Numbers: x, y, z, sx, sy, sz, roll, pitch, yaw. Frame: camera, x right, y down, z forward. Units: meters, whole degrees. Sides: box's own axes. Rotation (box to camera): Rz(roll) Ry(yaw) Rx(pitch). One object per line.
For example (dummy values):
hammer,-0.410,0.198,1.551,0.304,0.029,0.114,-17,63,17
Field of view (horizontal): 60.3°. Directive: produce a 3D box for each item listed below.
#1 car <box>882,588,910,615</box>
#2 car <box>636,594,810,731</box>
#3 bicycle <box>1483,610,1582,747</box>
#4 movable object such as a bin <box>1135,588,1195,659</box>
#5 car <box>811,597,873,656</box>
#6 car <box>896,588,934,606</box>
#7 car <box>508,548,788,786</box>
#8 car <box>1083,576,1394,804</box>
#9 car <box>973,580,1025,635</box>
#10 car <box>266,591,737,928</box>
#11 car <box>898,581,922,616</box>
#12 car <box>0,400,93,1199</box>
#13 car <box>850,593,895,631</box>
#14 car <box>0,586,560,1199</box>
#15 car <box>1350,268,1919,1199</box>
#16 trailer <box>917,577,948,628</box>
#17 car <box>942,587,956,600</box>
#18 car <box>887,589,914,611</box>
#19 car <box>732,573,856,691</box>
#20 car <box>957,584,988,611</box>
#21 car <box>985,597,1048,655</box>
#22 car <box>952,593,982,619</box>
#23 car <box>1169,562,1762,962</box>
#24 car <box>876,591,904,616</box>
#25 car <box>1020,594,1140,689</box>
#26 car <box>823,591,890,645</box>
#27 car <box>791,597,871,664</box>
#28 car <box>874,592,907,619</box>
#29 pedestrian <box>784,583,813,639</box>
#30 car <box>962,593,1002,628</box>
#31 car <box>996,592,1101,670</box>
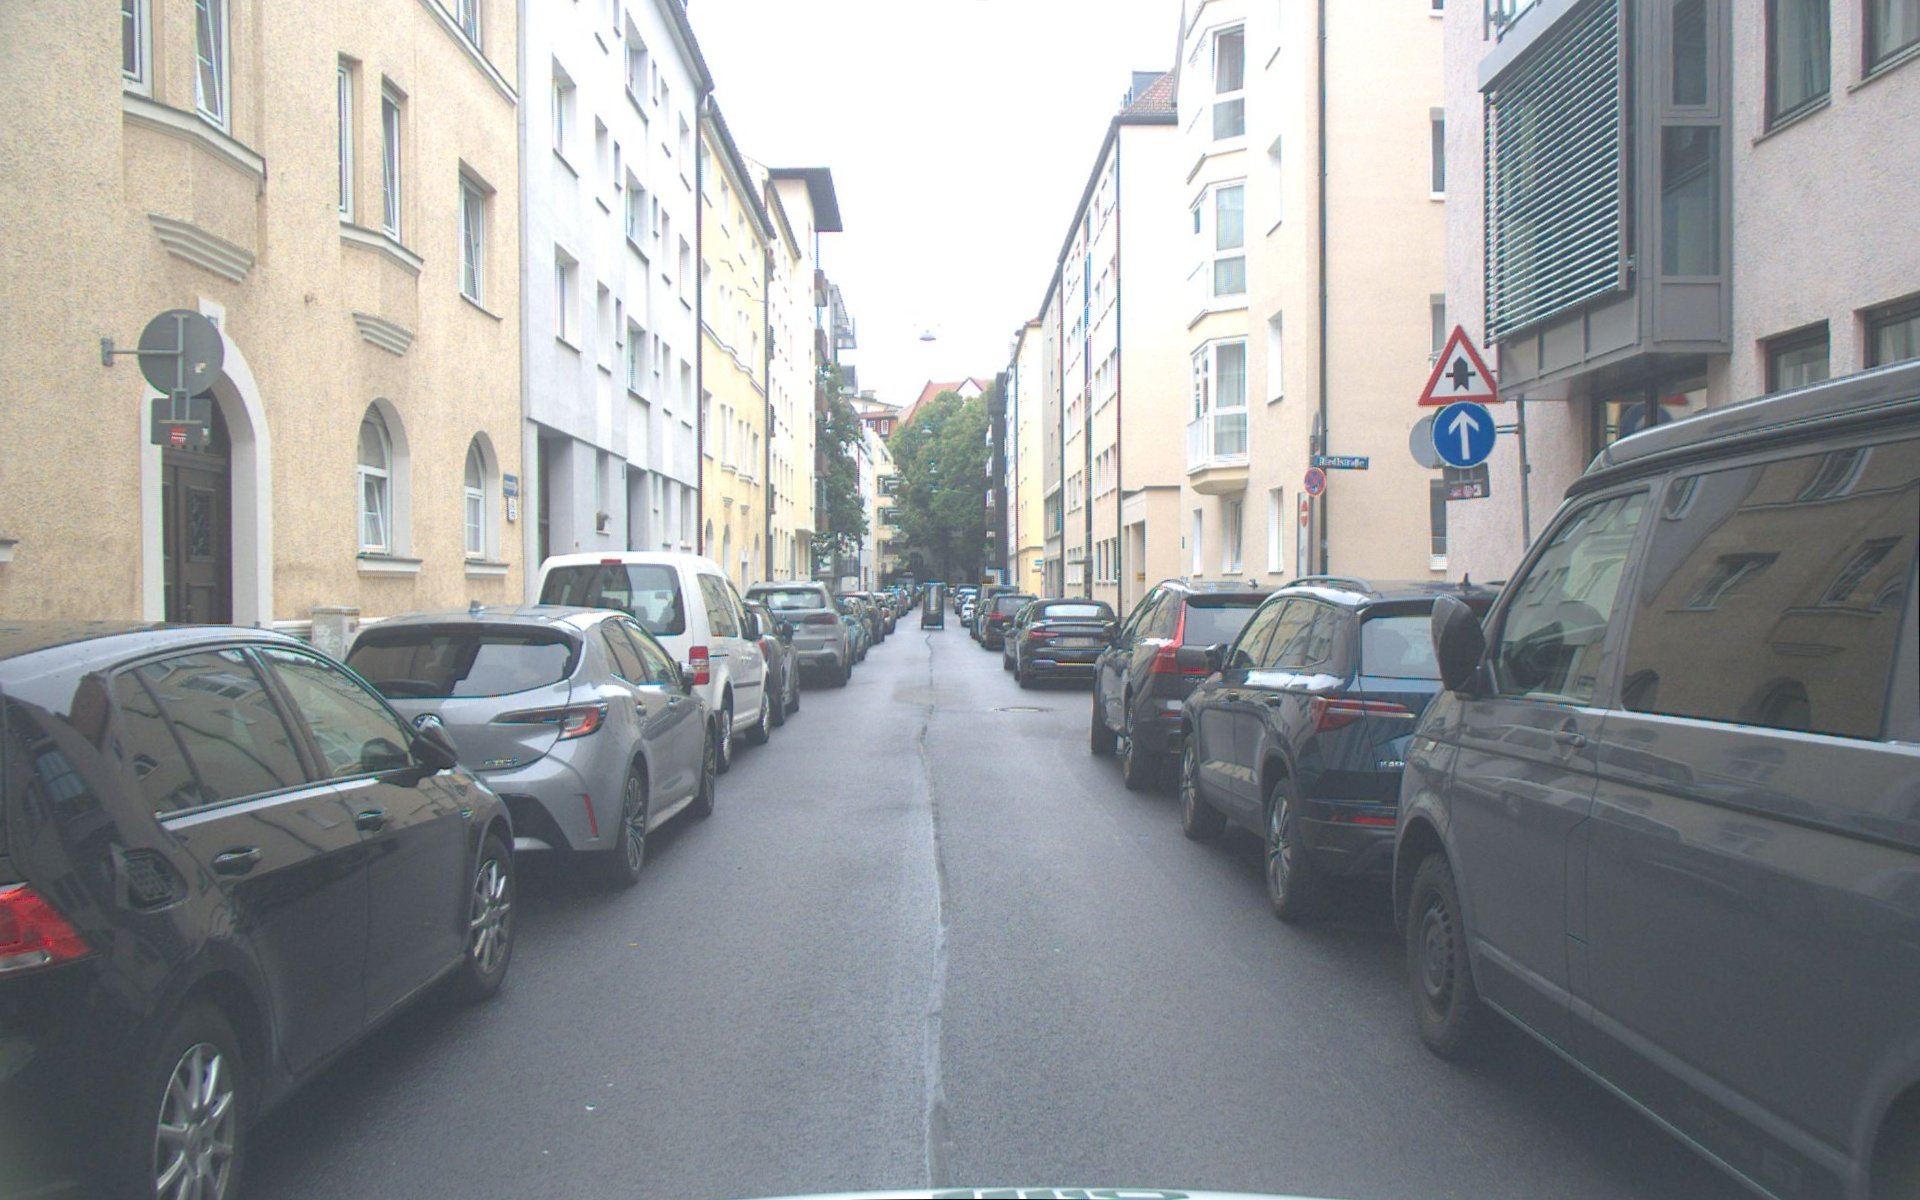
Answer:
car,-4.172,0.072,108.200,1.741,1.657,4.414,-1,1,-1
car,-2.784,0.715,20.133,1.618,1.436,3.733,-2,-1,-2
bicycle,5.144,0.676,14.930,0.350,1.141,1.542,0,0,-1
movable object such as a bin,4.363,0.499,35.363,1.011,1.448,1.586,-2,0,-1
car,-3.152,0.682,44.729,1.531,1.486,3.762,-1,0,-2
car,-4.574,-0.299,169.403,3.808,1.612,1.647,-3,0,-2
car,-2.700,0.534,15.269,1.689,1.820,4.249,-2,0,0
car,2.208,0.665,14.308,1.796,1.650,4.409,1,0,-2
car,1.484,0.249,64.867,1.716,2.010,4.341,2,1,-2
car,-2.435,0.737,9.852,1.638,1.501,4.111,-2,1,-1
car,-4.250,-0.153,141.100,1.897,2.850,4.532,-3,1,-1
car,-2.075,0.577,0.364,1.746,1.633,4.304,-2,1,-5
car,-3.520,0.456,66.803,1.618,1.461,3.802,-1,0,-1
car,-2.386,0.746,4.715,1.595,1.501,3.840,-2,1,-2
car,2.556,0.463,4.044,1.835,2.049,5.104,1,-1,-2
trailer,-1.199,0.120,73.124,1.327,2.153,3.317,-1,-1,0
car,-1.248,-0.772,186.676,1.609,1.408,3.745,1,1,-1
car,-4.407,-0.018,122.510,1.740,1.512,4.519,-3,1,0
car,-2.816,0.516,28.917,1.825,1.801,4.733,-2,0,-3
car,0.755,-0.187,99.844,1.715,1.495,4.342,2,1,-1
car,1.638,0.739,49.281,1.676,1.636,4.243,1,0,-1
car,0.443,0.404,109.746,1.648,1.595,4.413,2,1,-3
car,2.389,0.681,9.061,1.796,1.650,4.322,1,0,-2
car,-4.291,0.213,102.226,1.659,1.467,3.976,-1,1,-2
car,1.927,0.644,27.729,1.795,1.430,4.412,1,0,1
car,-3.341,0.560,54.289,1.840,1.689,4.415,-1,0,1
car,-2.976,0.679,38.780,1.531,1.486,3.404,-1,0,1
car,-3.936,0.296,94.375,1.658,1.467,3.942,-1,1,0
pedestrian,-5.195,0.344,53.332,0.822,1.795,1.067,1,0,-1
car,1.035,0.464,79.457,1.782,1.432,3.952,1,3,-2
car,1.794,0.614,34.715,1.683,1.497,4.528,1,0,-3
